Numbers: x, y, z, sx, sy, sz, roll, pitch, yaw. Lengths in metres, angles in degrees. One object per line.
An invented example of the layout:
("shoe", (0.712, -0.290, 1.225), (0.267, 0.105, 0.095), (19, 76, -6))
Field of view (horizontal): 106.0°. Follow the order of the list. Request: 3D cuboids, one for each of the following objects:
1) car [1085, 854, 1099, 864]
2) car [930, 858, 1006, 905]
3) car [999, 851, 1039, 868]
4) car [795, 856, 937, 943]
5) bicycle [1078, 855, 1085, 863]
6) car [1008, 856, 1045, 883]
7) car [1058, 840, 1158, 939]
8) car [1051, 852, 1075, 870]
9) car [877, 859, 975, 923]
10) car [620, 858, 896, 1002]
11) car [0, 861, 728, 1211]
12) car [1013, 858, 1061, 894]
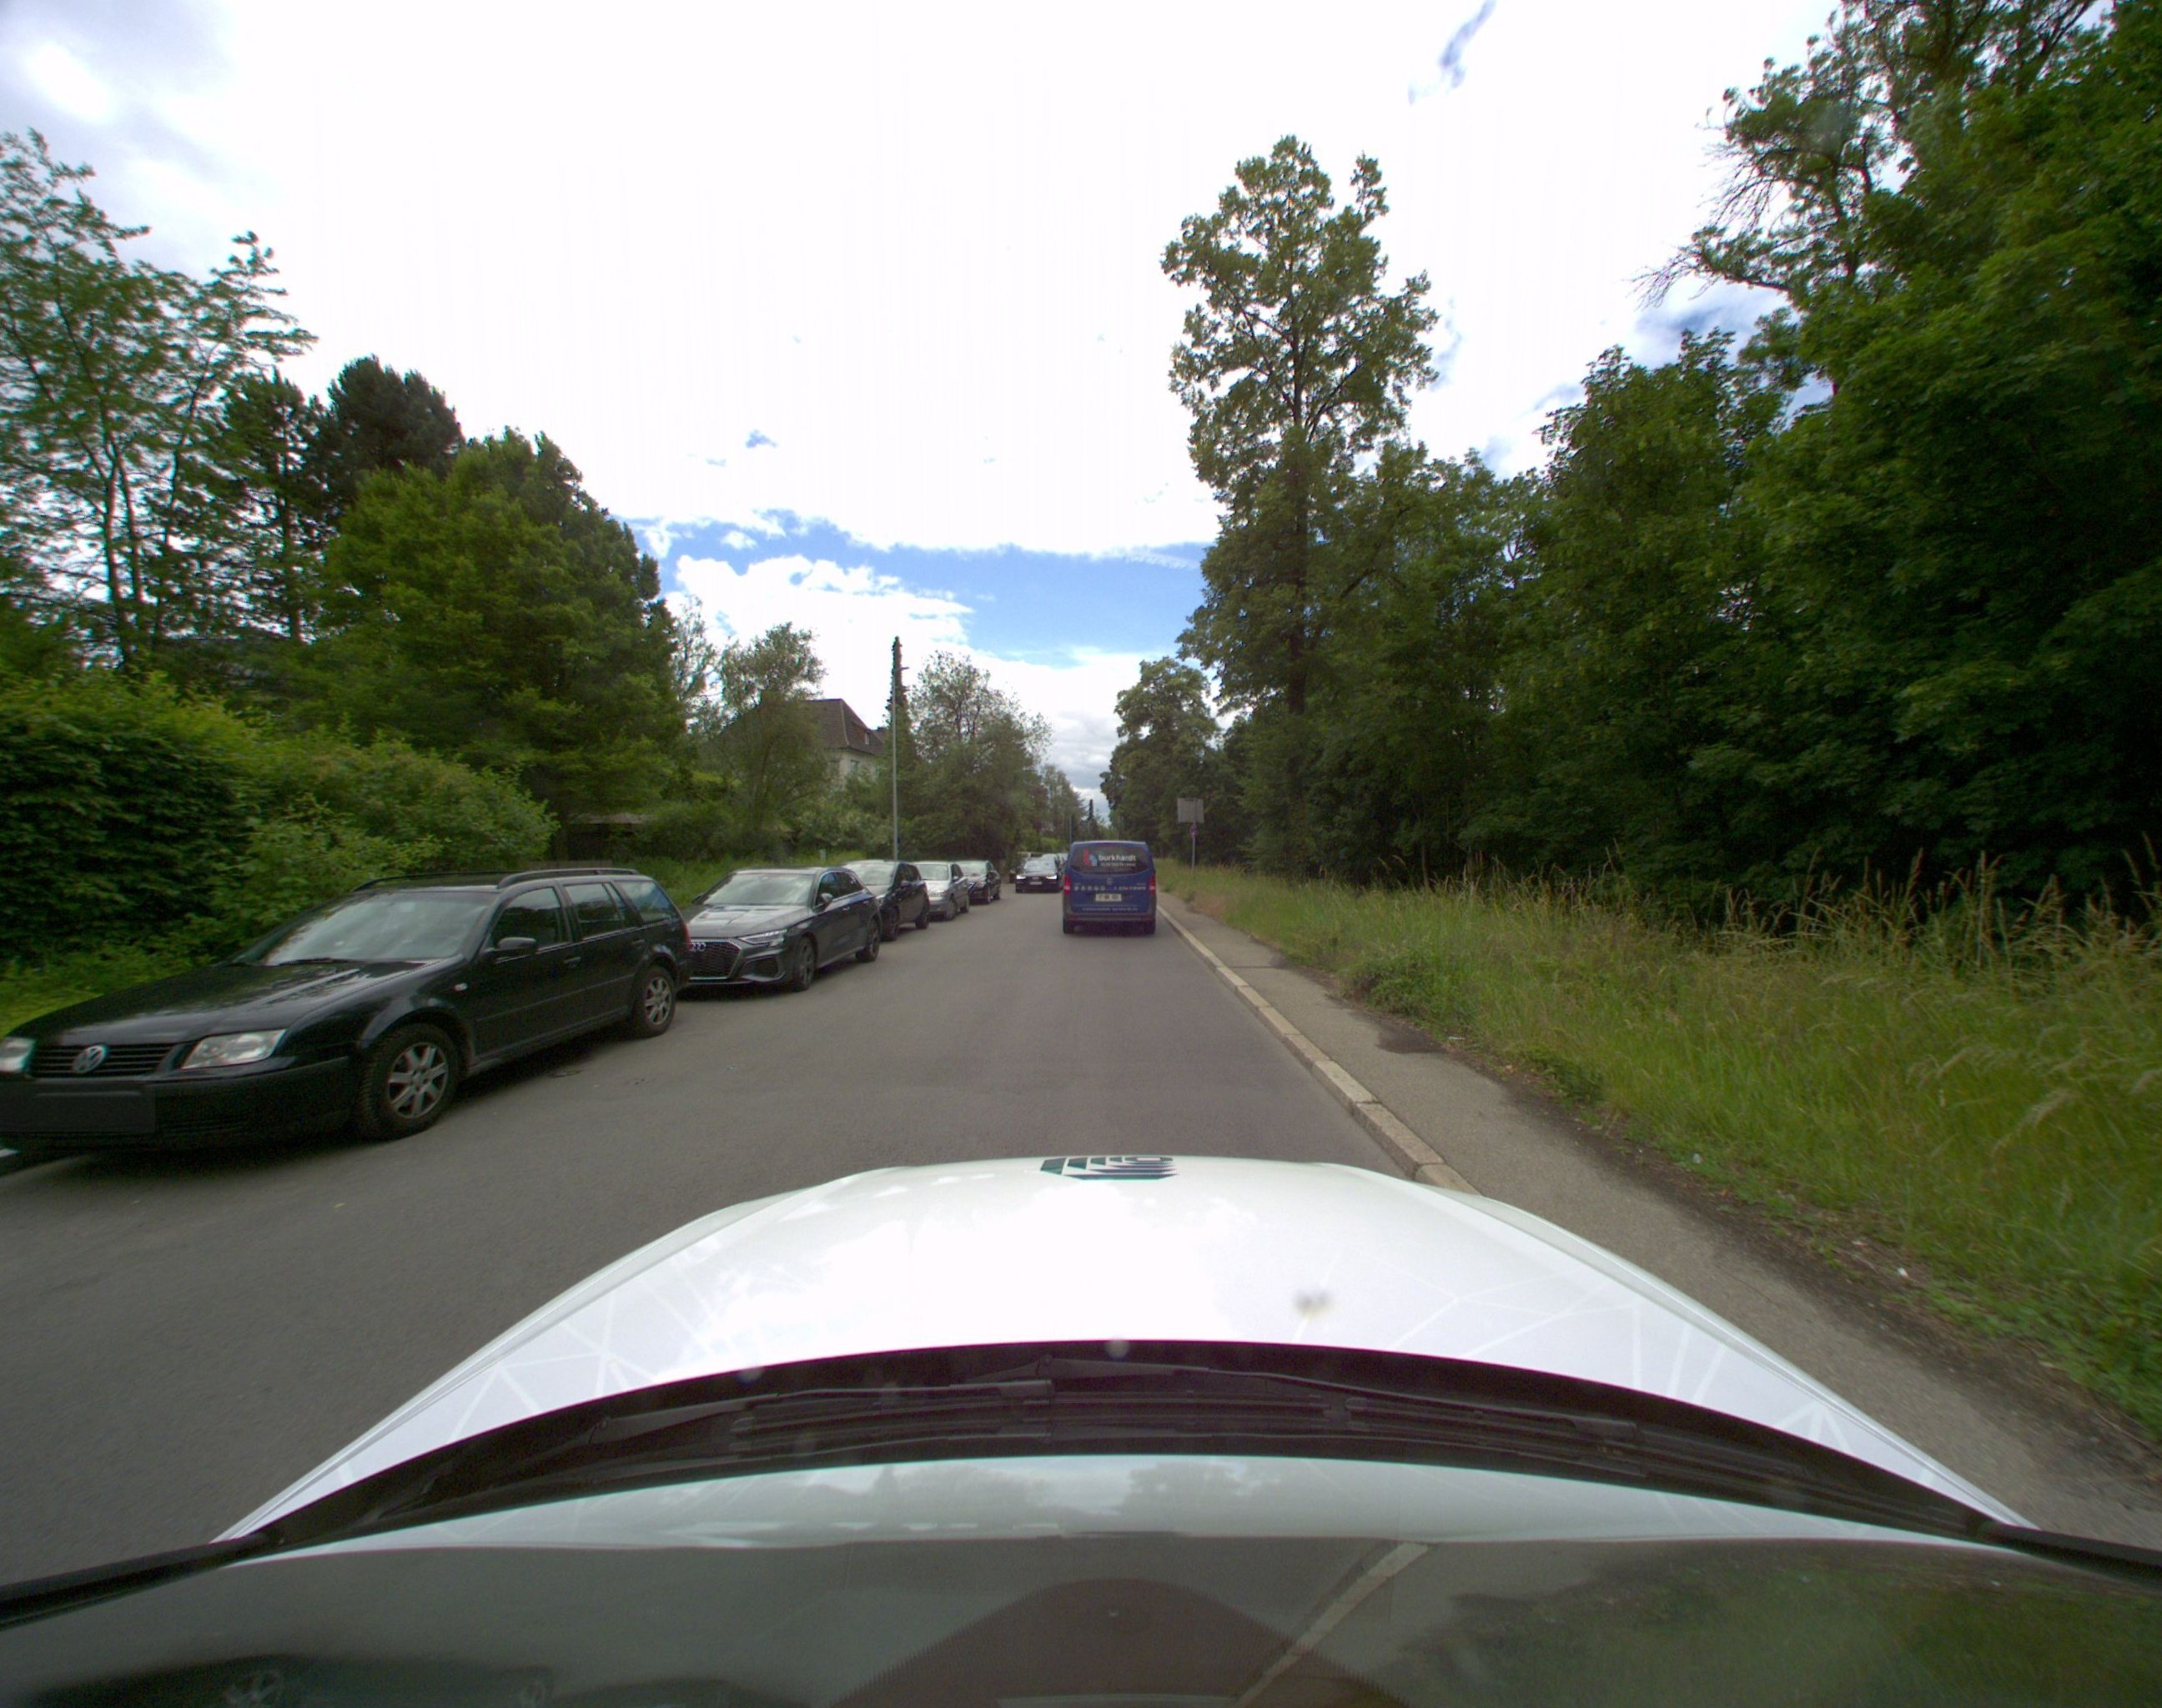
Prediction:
("car", (1.878, 0.826, 137.831), (1.827, 1.631, 4.306), (2, 0, 5))
("car", (-3.705, 0.855, 27.514), (1.772, 1.432, 5.105), (0, 0, 1))
("car", (-6.399, 0.580, 83.871), (3.665, 1.637, 1.835), (1, 0, 15))
("car", (-4.084, 0.798, 16.134), (1.618, 1.482, 4.002), (-1, 0, 2))
("bicycle", (0.051, 0.879, 135.014), (0.902, 1.252, 2.920), (3, 0, 5))
("car", (-3.137, 0.874, 47.735), (1.616, 1.450, 3.973), (-1, 0, 4))
("car", (0.503, 0.641, 17.505), (1.883, 1.844, 3.999), (-1, 1, -1))
("car", (-1.878, 0.716, 86.635), (1.965, 1.737, 5.196), (1, 0, 5))
("car", (-3.862, 0.863, 21.025), (1.618, 1.432, 4.351), (-1, 0, 1))
("car", (-3.948, 0.819, 10.905), (1.699, 1.482, 4.498), (-1, 0, 3))
("car", (-4.516, 0.831, 5.943), (1.676, 1.482, 4.694), (-1, 0, 2))
("car", (-1.866, 0.912, 35.660), (1.774, 1.426, 4.490), (0, 0, 1))
